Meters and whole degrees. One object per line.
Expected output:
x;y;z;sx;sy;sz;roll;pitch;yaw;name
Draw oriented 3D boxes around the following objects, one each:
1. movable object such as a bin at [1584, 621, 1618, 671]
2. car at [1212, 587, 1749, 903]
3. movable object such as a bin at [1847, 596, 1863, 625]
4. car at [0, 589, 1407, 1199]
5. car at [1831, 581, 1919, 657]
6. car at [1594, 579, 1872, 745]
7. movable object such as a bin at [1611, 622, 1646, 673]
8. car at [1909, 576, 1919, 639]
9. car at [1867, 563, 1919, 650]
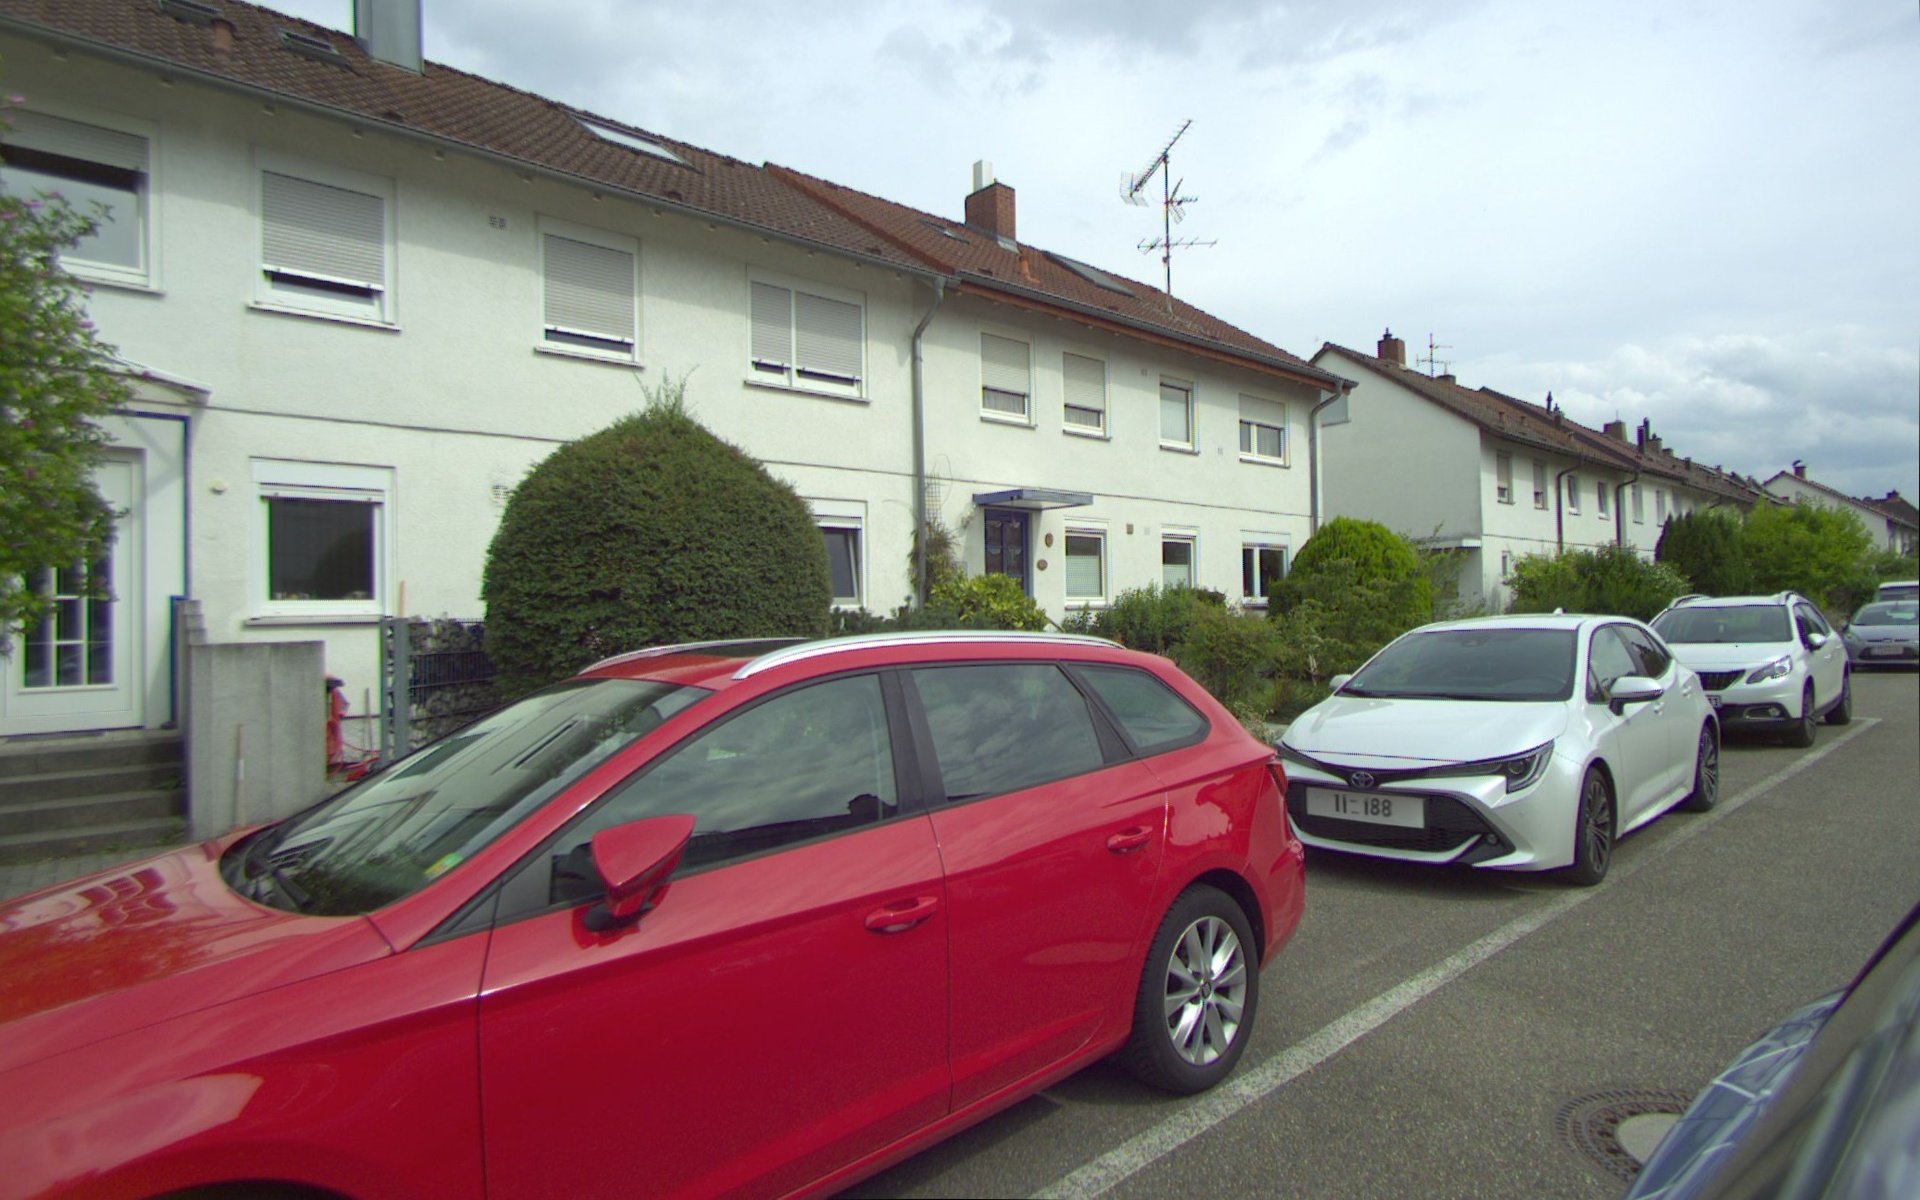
12.345;0.890;19.502;0.431;0.933;0.457;-3;-2;45;movable object such as a bin
3.758;0.639;6.842;4.560;1.431;1.839;-1;0;-44;car
33.291;0.392;37.646;0.403;1.047;0.779;-2;-1;41;movable object such as a bin
-0.708;0.761;2.971;4.741;1.454;1.776;-1;-2;-41;car
19.979;0.354;21.287;4.056;1.478;1.904;-1;0;-40;car
8.839;0.596;11.463;3.904;1.564;1.716;-1;-2;-41;car
12.662;0.898;19.168;0.431;0.933;0.457;-3;-2;45;movable object such as a bin
27.457;0.185;27.817;4.339;1.672;1.811;-1;0;-45;car
23.711;0.129;24.639;4.667;1.972;2.022;-1;0;-43;car
